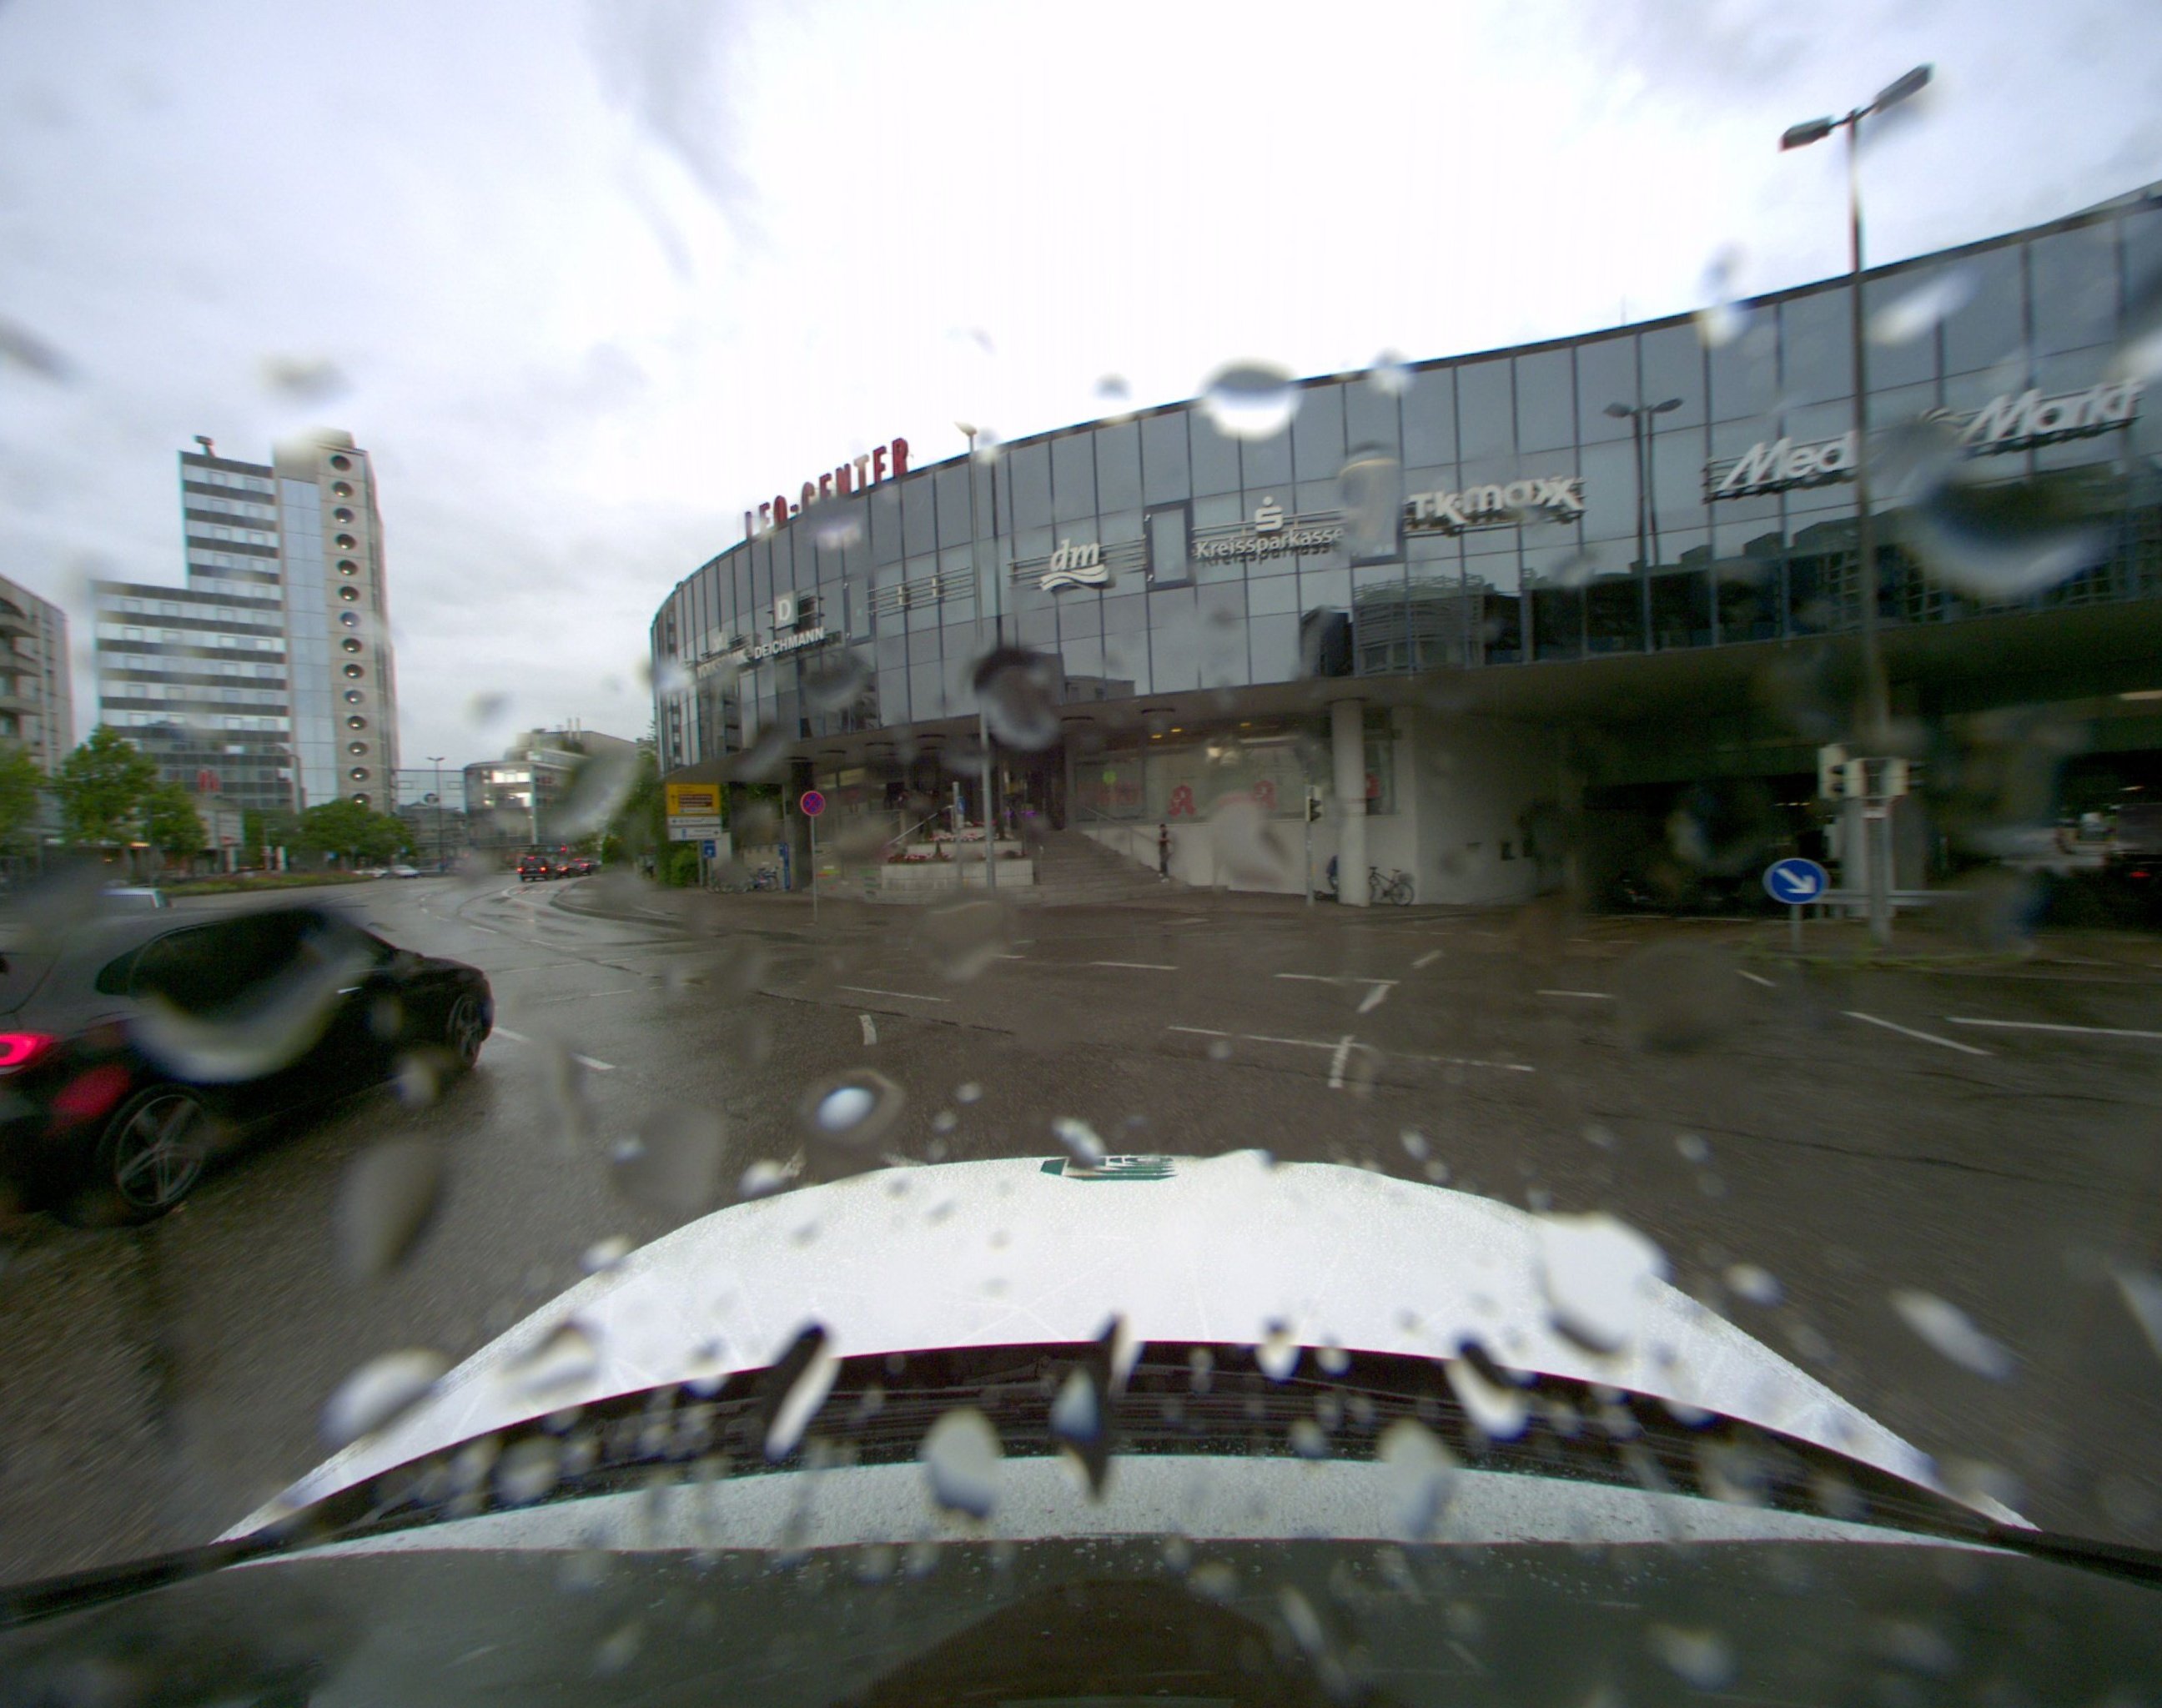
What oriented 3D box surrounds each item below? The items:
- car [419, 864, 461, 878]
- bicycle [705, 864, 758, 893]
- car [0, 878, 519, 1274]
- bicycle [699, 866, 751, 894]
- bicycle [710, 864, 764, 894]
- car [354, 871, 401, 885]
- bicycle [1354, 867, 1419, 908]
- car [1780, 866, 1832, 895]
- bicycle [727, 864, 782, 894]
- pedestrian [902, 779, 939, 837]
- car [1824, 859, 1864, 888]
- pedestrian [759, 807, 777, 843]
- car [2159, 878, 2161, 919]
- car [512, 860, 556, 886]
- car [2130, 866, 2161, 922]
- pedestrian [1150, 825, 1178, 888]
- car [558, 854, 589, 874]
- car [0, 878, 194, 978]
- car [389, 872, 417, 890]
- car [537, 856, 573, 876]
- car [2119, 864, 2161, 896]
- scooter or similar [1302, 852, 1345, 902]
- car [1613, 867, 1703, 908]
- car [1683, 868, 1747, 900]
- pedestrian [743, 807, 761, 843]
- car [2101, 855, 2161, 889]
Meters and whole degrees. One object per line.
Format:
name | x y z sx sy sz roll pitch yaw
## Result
car | -78.816 2.106 100.164 3.912 1.518 1.765 -3 2 -39
bicycle | -14.491 1.014 33.785 1.864 1.033 0.621 -6 2 -39
car | -5.390 0.949 4.965 1.663 1.481 4.079 -2 -1 -11
bicycle | -14.984 1.077 34.298 1.863 0.951 0.530 -6 4 -36
bicycle | -14.041 1.006 33.247 1.864 1.042 0.640 -6 2 -39
car | -81.477 2.798 94.362 4.021 1.384 1.708 -3 2 -40
bicycle | 8.502 0.933 22.716 1.575 1.017 0.452 4 2 2
car | 44.821 1.620 50.324 3.961 1.588 1.897 -2 -1 -42
bicycle | -12.832 0.985 32.033 1.864 1.023 0.625 -5 2 -39
pedestrian | -5.719 -1.612 28.982 0.822 2.013 0.958 0 1 39
car | 49.893 1.242 53.222 1.819 1.727 4.024 -2 0 44
pedestrian | -15.038 -1.403 39.144 0.657 1.713 0.593 -1 1 -34
car | 36.061 1.460 25.861 4.022 1.400 1.763 2 -3 -43
car | -44.424 1.478 66.274 2.050 1.895 4.110 -2 1 -21
car | 39.347 1.393 29.157 4.022 1.770 1.775 -2 -1 -43
pedestrian | 2.517 0.072 24.687 0.650 1.908 0.598 -1 1 25
car | -49.463 0.966 79.464 1.918 1.724 3.781 -2 1 -22
car | -17.899 1.238 14.992 1.756 1.441 3.944 -3 1 -43
car | -69.675 2.720 83.698 1.704 1.632 3.475 -2 2 -33
car | -47.140 1.042 73.077 1.894 1.672 3.971 -2 1 -22
car | 56.113 1.317 42.573 3.863 1.491 1.871 -2 1 -44
scooter or similar | 6.897 0.648 23.147 1.157 1.372 0.491 0 1 18
car | 21.841 1.285 30.779 4.048 1.470 1.876 3 -3 -41
car | 30.707 1.444 39.416 3.896 1.464 1.755 1 -2 -42
pedestrian | -15.671 -1.388 38.813 0.657 1.713 0.593 -1 1 -34
car | 60.563 0.973 46.954 3.612 1.777 1.824 -2 2 -44
